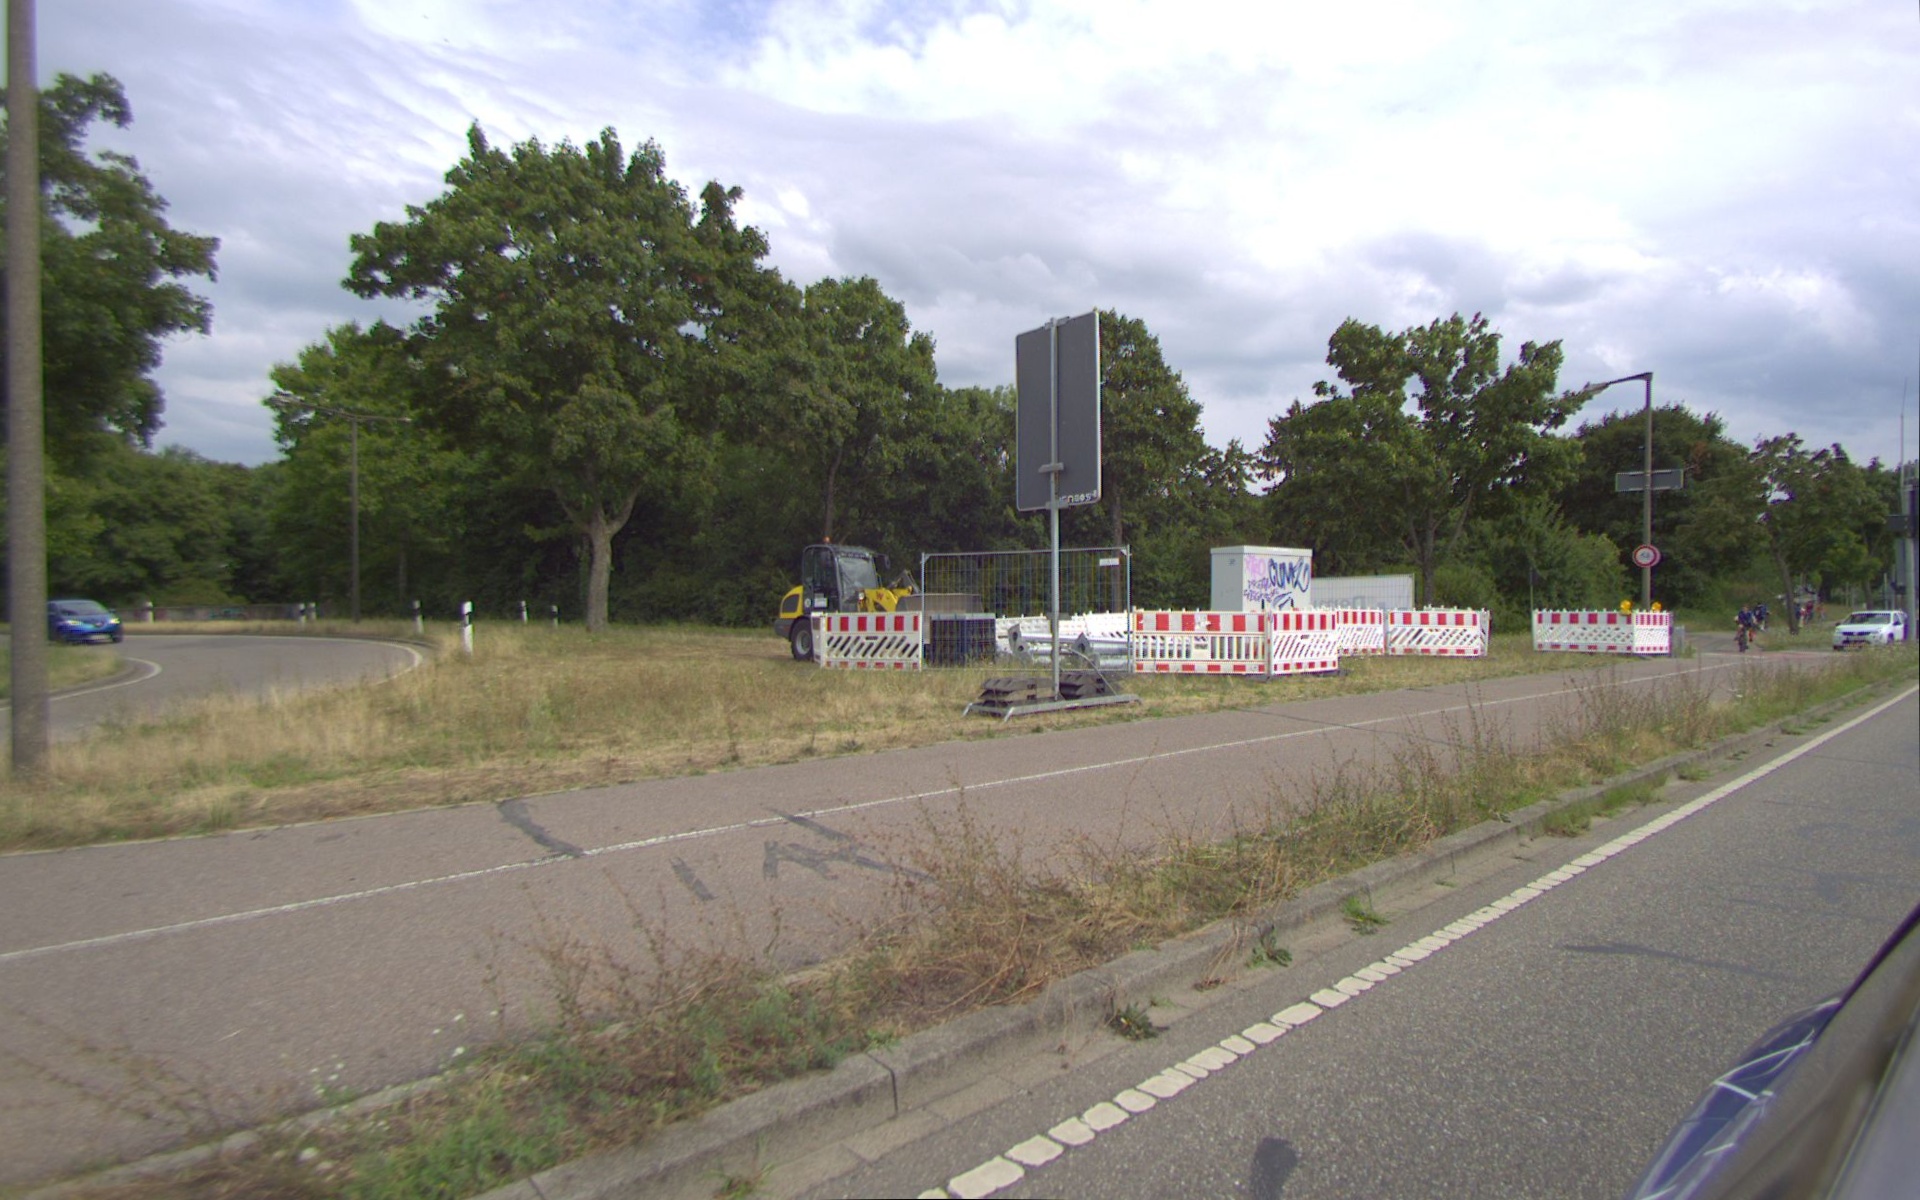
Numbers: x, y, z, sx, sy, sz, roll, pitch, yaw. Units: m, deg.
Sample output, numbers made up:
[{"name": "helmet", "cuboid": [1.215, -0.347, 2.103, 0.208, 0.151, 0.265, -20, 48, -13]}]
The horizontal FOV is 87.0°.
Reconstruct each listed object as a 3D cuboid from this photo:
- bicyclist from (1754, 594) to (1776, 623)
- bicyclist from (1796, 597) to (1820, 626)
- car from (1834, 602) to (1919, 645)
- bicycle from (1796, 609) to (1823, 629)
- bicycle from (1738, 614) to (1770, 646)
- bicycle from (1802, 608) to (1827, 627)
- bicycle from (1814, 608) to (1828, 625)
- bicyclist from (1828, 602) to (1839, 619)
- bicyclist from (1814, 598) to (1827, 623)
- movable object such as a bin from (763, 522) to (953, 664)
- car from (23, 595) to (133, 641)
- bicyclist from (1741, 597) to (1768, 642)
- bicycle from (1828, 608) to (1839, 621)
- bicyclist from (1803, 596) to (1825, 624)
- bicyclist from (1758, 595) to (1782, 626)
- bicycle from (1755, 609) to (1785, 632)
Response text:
[{"name": "bicyclist", "cuboid": [42.929, 0.453, 53.984, 0.941, 1.505, 0.742, 0, 0, -40]}, {"name": "bicyclist", "cuboid": [44.782, 0.602, 53.447, 0.940, 1.537, 0.743, 0, 0, -36]}, {"name": "car", "cuboid": [35.152, 0.873, 38.429, 3.922, 1.521, 1.854, 0, -2, -32]}, {"name": "bicycle", "cuboid": [44.898, 1.002, 53.489, 2.154, 1.050, 0.597, 1, 0, -36]}, {"name": "bicycle", "cuboid": [30.488, 1.139, 38.842, 1.947, 1.162, 0.574, 1, 1, -41]}, {"name": "bicycle", "cuboid": [47.087, 0.961, 55.751, 1.754, 1.018, 0.622, 1, 2, -36]}, {"name": "bicycle", "cuboid": [59.190, 1.130, 69.584, 0.514, 1.162, 2.195, 2, 2, 45]}, {"name": "bicyclist", "cuboid": [66.819, 0.822, 77.413, 0.442, 1.299, 0.538, 0, -1, -44]}, {"name": "bicyclist", "cuboid": [59.147, 0.701, 69.562, 0.768, 1.679, 0.652, 0, 0, -45]}, {"name": "movable object such as a bin", "cuboid": [-2.310, -0.137, 21.824, 2.063, 2.723, 4.514, 0, 0, -37]}, {"name": "car", "cuboid": [-31.106, 0.605, 35.679, 3.968, 1.537, 1.859, 0, 0, 32]}, {"name": "bicyclist", "cuboid": [30.528, 0.745, 38.871, 0.861, 1.679, 0.653, 0, 0, -41]}, {"name": "bicycle", "cuboid": [66.847, 1.101, 77.432, 0.514, 0.976, 1.753, 2, 2, 45]}, {"name": "bicyclist", "cuboid": [46.979, 0.557, 55.654, 0.790, 1.492, 0.742, 0, 0, -35]}, {"name": "bicyclist", "cuboid": [41.046, 0.540, 51.288, 0.940, 1.537, 0.743, 0, 0, -35]}, {"name": "bicycle", "cuboid": [41.083, 1.029, 51.300, 2.063, 1.018, 0.622, -2, 4, -36]}]
